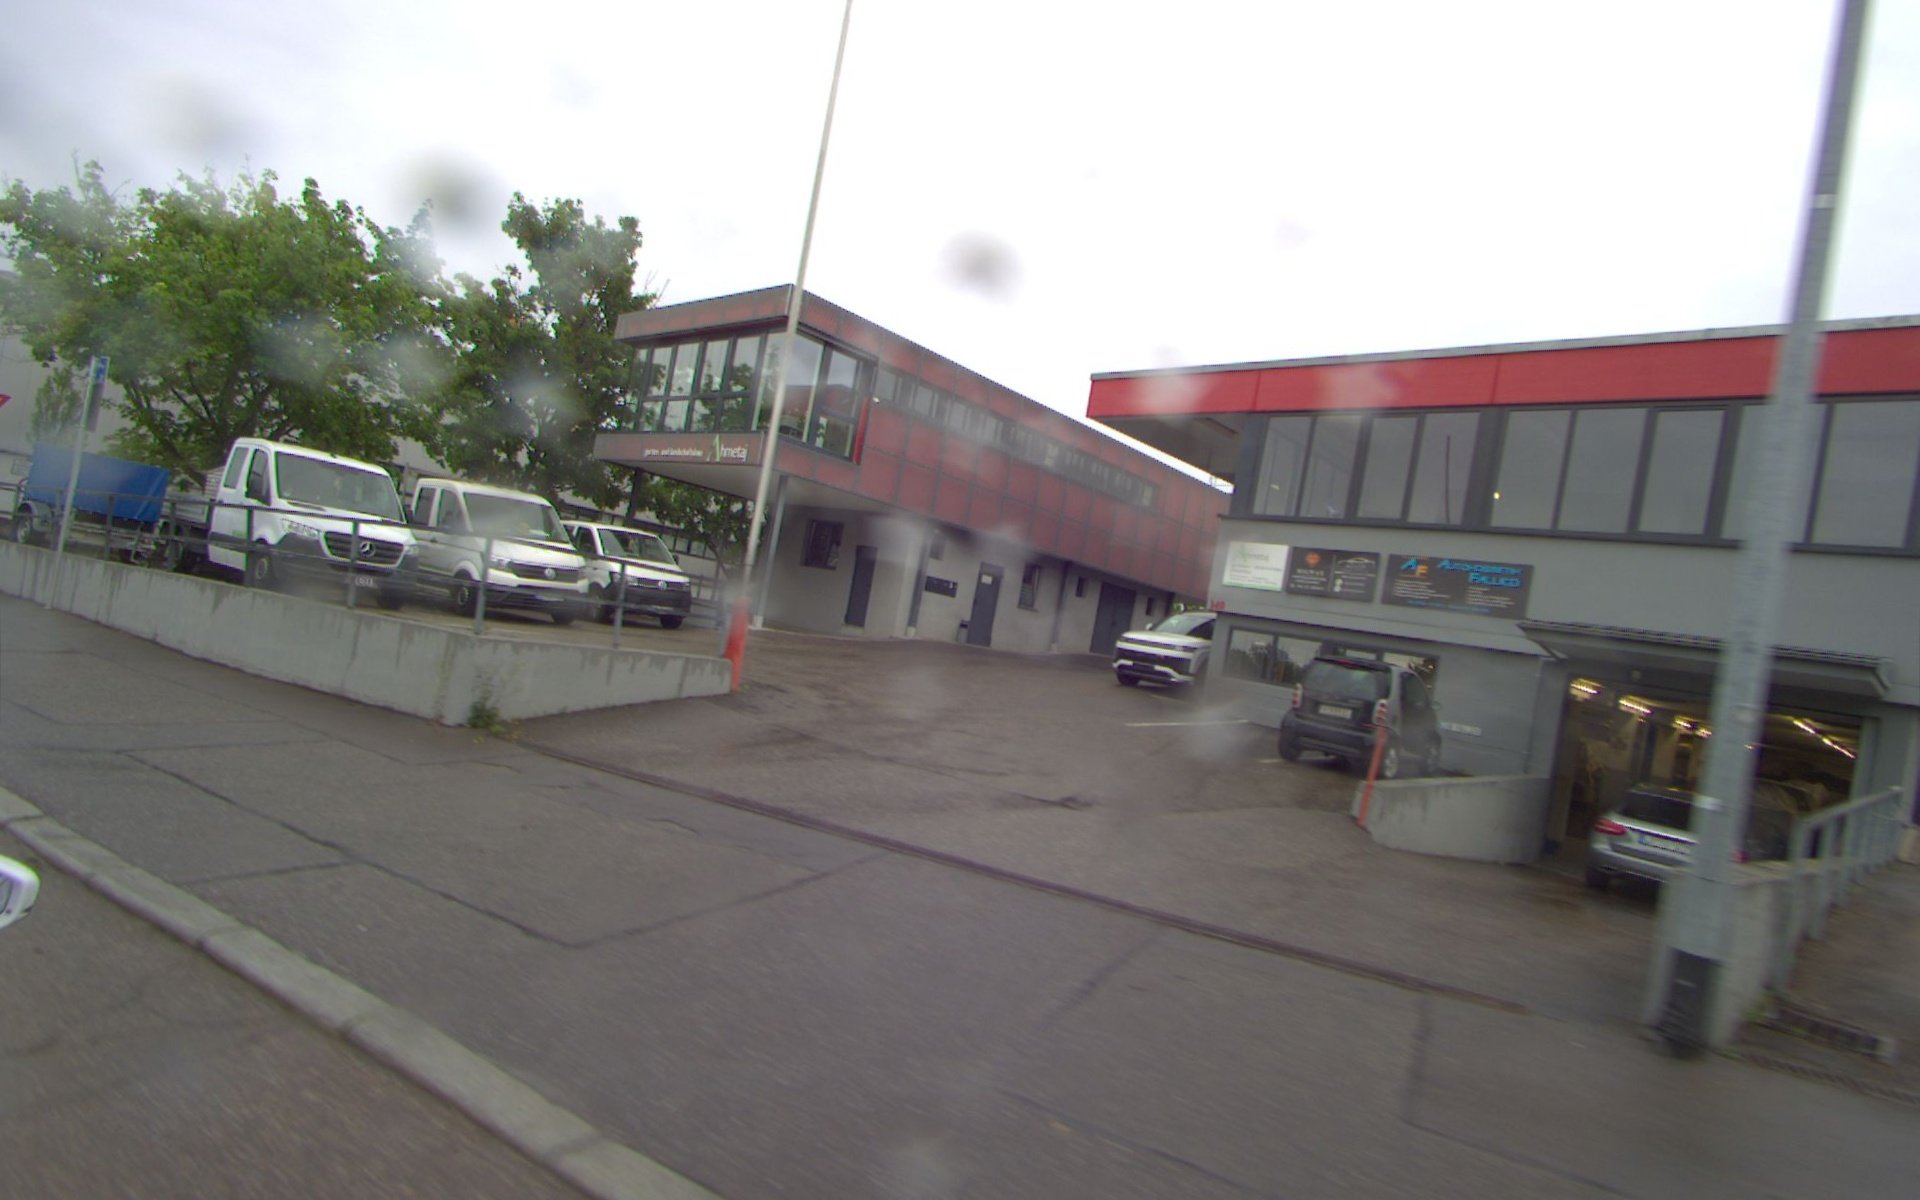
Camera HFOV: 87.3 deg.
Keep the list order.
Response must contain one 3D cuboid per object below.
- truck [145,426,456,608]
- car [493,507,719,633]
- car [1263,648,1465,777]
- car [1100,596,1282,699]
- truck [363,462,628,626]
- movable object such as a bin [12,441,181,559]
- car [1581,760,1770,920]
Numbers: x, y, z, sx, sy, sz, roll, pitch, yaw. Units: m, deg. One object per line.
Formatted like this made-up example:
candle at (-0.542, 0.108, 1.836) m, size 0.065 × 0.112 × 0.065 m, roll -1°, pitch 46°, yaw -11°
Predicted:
truck at (-10.625, -1.365, 16.024) m, size 5.565 × 2.239 × 2.108 m, roll 7°, pitch -2°, yaw 36°
car at (-7.452, -0.676, 20.922) m, size 4.868 × 2.037 × 2.056 m, roll 6°, pitch -2°, yaw 40°
car at (5.800, 1.612, 14.338) m, size 1.656 × 1.463 × 2.707 m, roll 6°, pitch -2°, yaw 44°
car at (5.023, 1.061, 21.590) m, size 3.913 × 1.760 × 1.834 m, roll 7°, pitch 2°, yaw -45°
truck at (-8.455, -1.056, 18.136) m, size 4.766 × 2.368 × 2.243 m, roll 6°, pitch -2°, yaw 39°
movable object such as a bin at (-13.656, -1.574, 15.931) m, size 1.826 × 1.518 × 1.310 m, roll 7°, pitch -2°, yaw 27°
car at (9.396, 2.999, 13.130) m, size 1.607 × 1.512 × 3.032 m, roll 6°, pitch -2°, yaw 41°
